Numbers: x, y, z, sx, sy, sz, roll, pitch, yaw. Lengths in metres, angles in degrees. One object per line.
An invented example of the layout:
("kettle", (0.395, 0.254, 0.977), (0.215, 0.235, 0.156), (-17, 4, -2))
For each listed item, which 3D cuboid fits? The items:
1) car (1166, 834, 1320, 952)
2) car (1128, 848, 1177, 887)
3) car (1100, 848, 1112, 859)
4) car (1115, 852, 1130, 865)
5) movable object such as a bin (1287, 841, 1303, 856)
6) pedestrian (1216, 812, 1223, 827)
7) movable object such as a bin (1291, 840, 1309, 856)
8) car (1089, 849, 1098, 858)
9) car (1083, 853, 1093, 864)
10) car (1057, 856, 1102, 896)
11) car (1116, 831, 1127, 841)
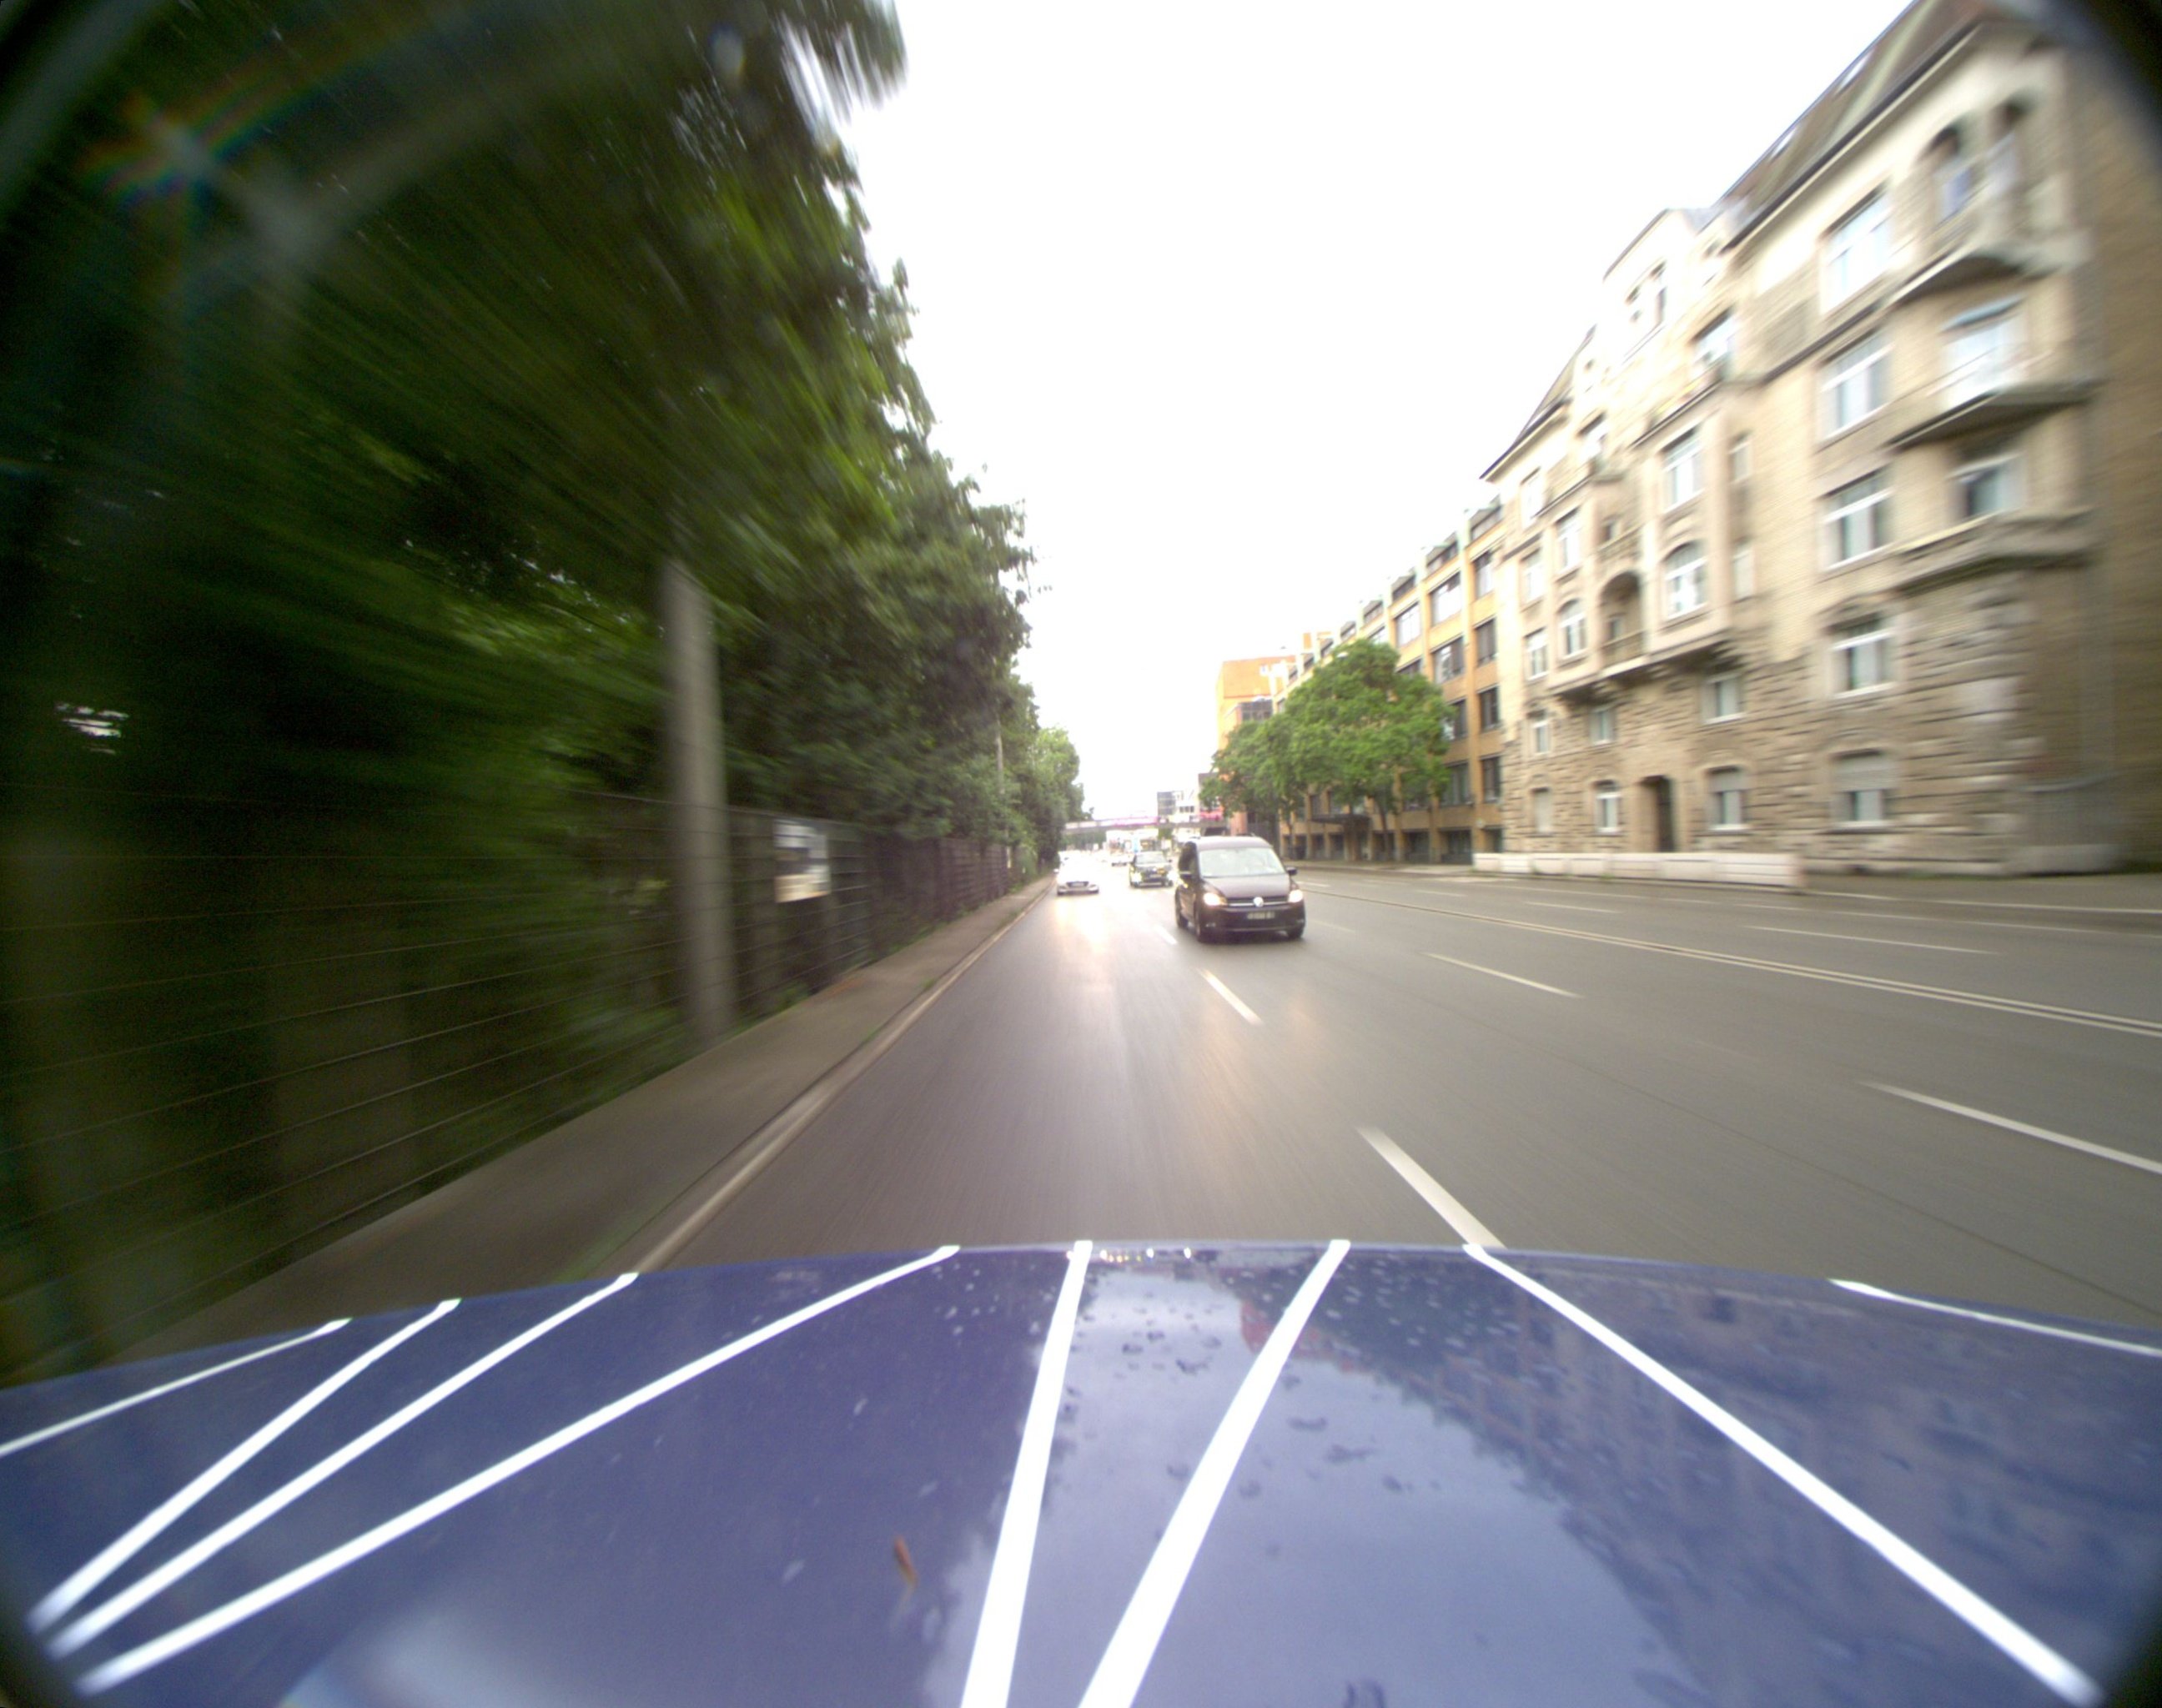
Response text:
("car", (2.734, 0.604, 13.760), (1.842, 1.780, 3.999), (-2, 0, -1))
("car", (3.268, 0.566, 35.451), (1.731, 1.604, 3.999), (-4, 1, -1))
("car", (4.427, -0.049, 136.996), (1.878, 1.762, 3.999), (-5, 1, 0))
("car", (5.335, 0.589, 97.726), (1.730, 1.502, 3.731), (-4, 1, 4))
("movable object such as a bin", (20.275, -0.515, 72.124), (0.976, 1.428, 1.313), (-5, 1, -5))
("pedestrian", (20.026, -4.973, 109.806), (0.833, 2.242, 0.738), (-2, 2, -6))
("movable object such as a bin", (20.372, -0.524, 70.773), (1.071, 1.428, 1.372), (-5, 1, -5))
("car", (2.971, -0.111, 181.692), (1.878, 1.762, 3.999), (-5, 1, 0))
("car", (1.325, 0.849, 149.655), (1.878, 1.762, 3.999), (-5, 1, 0))
("car", (-0.114, 0.899, 32.872), (1.731, 1.431, 3.999), (-4, 1, -1))
("car", (7.191, -3.157, 134.793), (1.823, 1.603, 4.000), (-5, 1, 5))
